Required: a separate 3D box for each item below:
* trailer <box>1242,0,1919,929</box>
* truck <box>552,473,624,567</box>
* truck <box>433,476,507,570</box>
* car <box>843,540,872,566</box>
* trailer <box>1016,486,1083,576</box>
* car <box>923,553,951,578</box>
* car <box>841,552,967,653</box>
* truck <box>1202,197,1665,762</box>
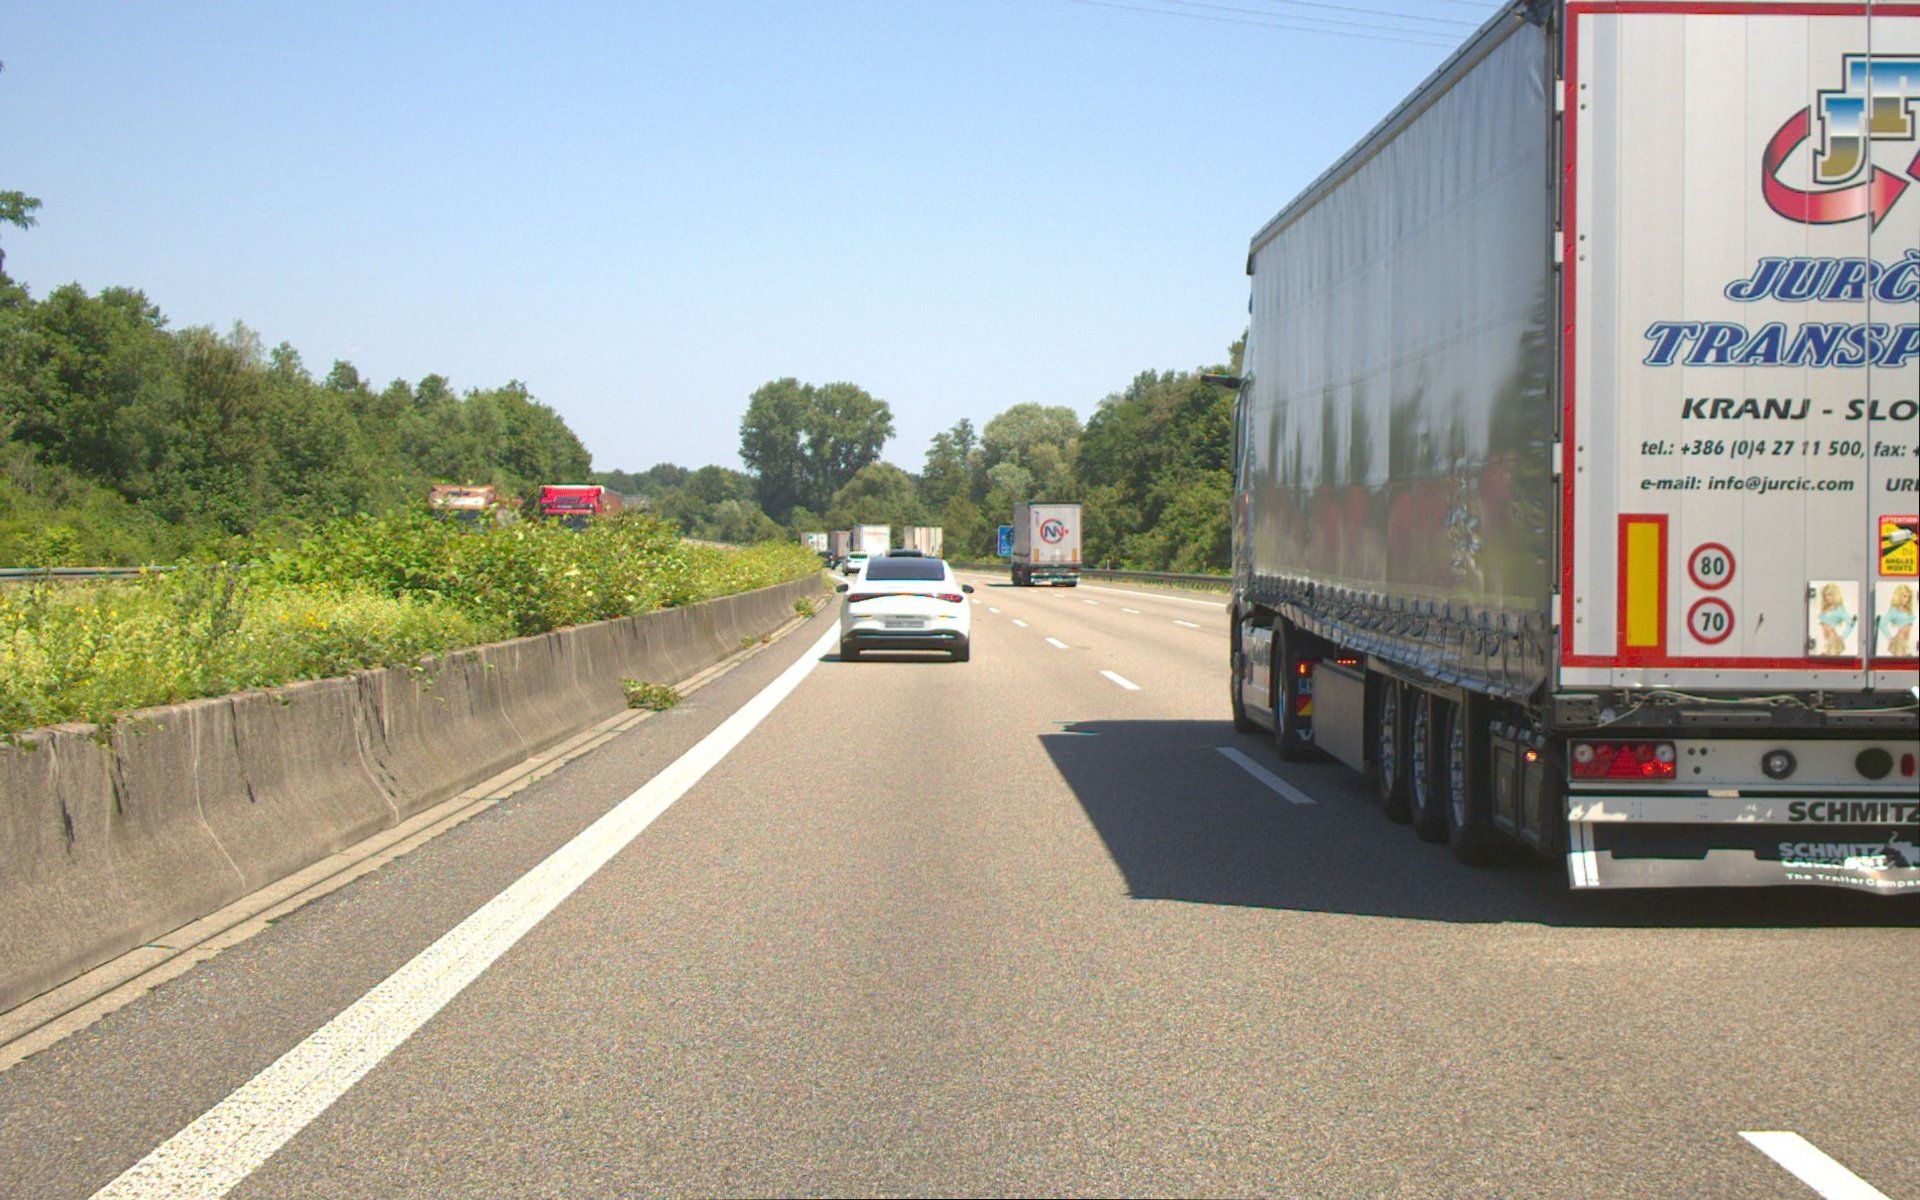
[{"bbox_3d":[3.599,-0.792,20.340,2.740,3.961,13.655,1,1,0],"label":"trailer"},{"bbox_3d":[-15.234,-3.259,141.121,2.465,3.775,5.730,1,1,-2],"label":"truck"},{"bbox_3d":[-19.105,-2.999,134.206,2.357,3.589,4.164,1,1,-2],"label":"truck"},{"bbox_3d":[-7.095,-3.246,237.380,1.723,1.777,4.001,1,1,-6],"label":"car"},{"bbox_3d":[4.391,-3.418,170.862,2.624,4.246,14.062,1,1,-1],"label":"trailer"},{"bbox_3d":[-1.490,-2.217,220.782,1.723,1.580,4.000,1,1,-1],"label":"car"},{"bbox_3d":[-0.766,0.013,48.940,1.715,1.365,3.375,1,1,0],"label":"car"},{"bbox_3d":[3.584,-0.901,27.617,2.722,3.961,6.502,1,1,0],"label":"truck"}]
